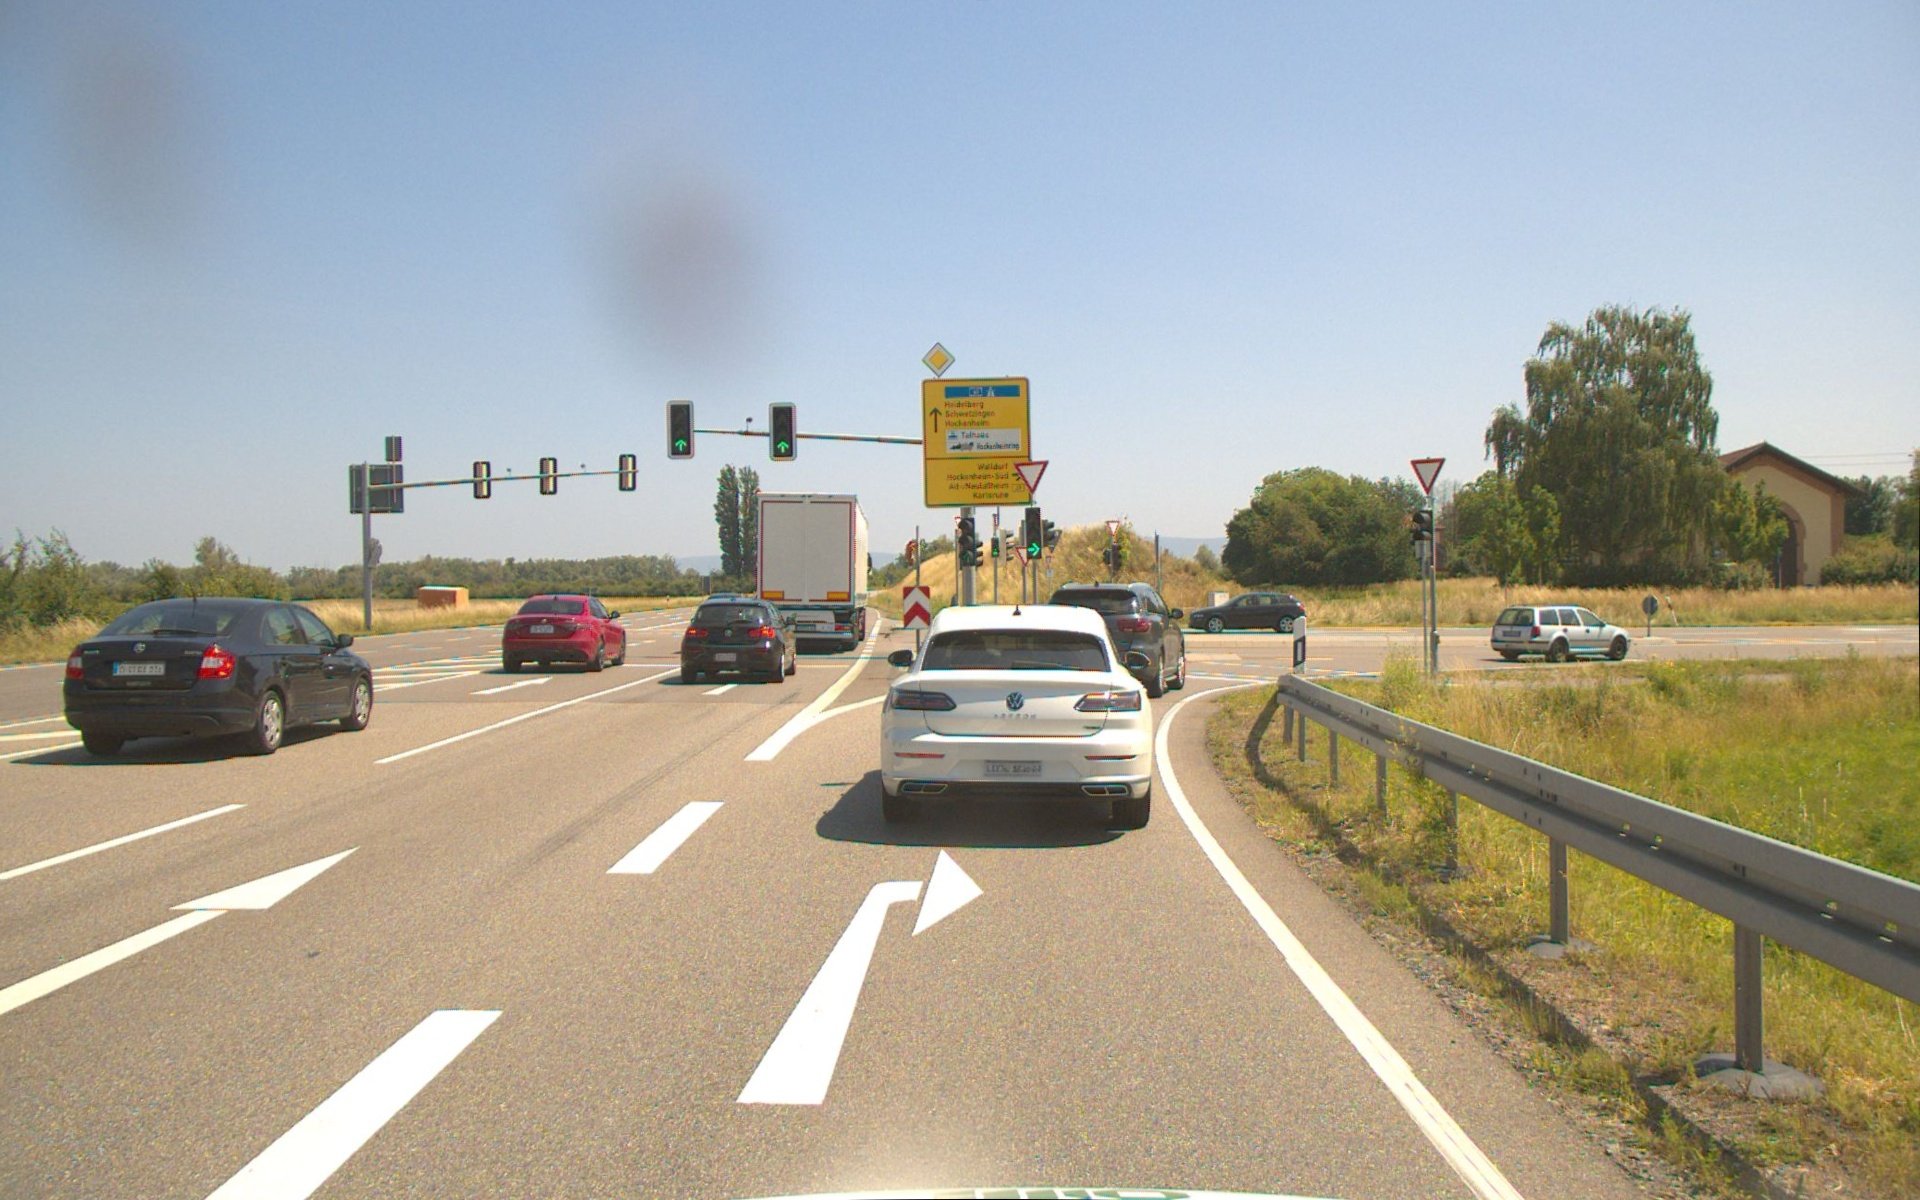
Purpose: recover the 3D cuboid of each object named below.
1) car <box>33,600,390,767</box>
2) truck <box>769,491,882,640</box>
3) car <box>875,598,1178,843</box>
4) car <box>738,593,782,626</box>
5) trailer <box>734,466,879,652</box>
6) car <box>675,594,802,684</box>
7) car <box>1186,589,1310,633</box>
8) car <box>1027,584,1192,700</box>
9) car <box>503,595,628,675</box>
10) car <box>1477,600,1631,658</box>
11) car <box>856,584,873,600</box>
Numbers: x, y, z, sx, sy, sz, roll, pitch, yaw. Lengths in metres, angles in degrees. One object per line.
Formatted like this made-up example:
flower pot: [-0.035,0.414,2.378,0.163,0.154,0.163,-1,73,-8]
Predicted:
car: [-7.224,0.727,16.501,1.641,1.436,4.465,0,0,-2]
truck: [-4.352,-1.071,54.738,3.312,4.622,6.371,0,0,-1]
car: [0.363,0.729,12.198,1.810,1.458,4.607,0,0,-1]
car: [-9.554,0.446,79.336,1.773,1.519,4.019,0,0,-3]
trailer: [-4.157,-1.026,47.811,3.313,4.622,12.867,0,0,-2]
car: [-3.882,0.643,29.616,1.748,1.455,4.380,1,0,-1]
car: [10.292,0.382,59.281,4.171,1.392,1.777,-1,1,2]
car: [2.422,0.602,25.722,1.893,1.645,4.381,0,0,14]
car: [-7.782,0.652,33.010,1.715,1.446,4.562,1,0,-5]
car: [15.756,0.744,43.833,4.040,1.454,1.786,0,0,-33]
car: [-11.123,-0.917,192.801,1.941,1.902,4.463,0,0,-5]
